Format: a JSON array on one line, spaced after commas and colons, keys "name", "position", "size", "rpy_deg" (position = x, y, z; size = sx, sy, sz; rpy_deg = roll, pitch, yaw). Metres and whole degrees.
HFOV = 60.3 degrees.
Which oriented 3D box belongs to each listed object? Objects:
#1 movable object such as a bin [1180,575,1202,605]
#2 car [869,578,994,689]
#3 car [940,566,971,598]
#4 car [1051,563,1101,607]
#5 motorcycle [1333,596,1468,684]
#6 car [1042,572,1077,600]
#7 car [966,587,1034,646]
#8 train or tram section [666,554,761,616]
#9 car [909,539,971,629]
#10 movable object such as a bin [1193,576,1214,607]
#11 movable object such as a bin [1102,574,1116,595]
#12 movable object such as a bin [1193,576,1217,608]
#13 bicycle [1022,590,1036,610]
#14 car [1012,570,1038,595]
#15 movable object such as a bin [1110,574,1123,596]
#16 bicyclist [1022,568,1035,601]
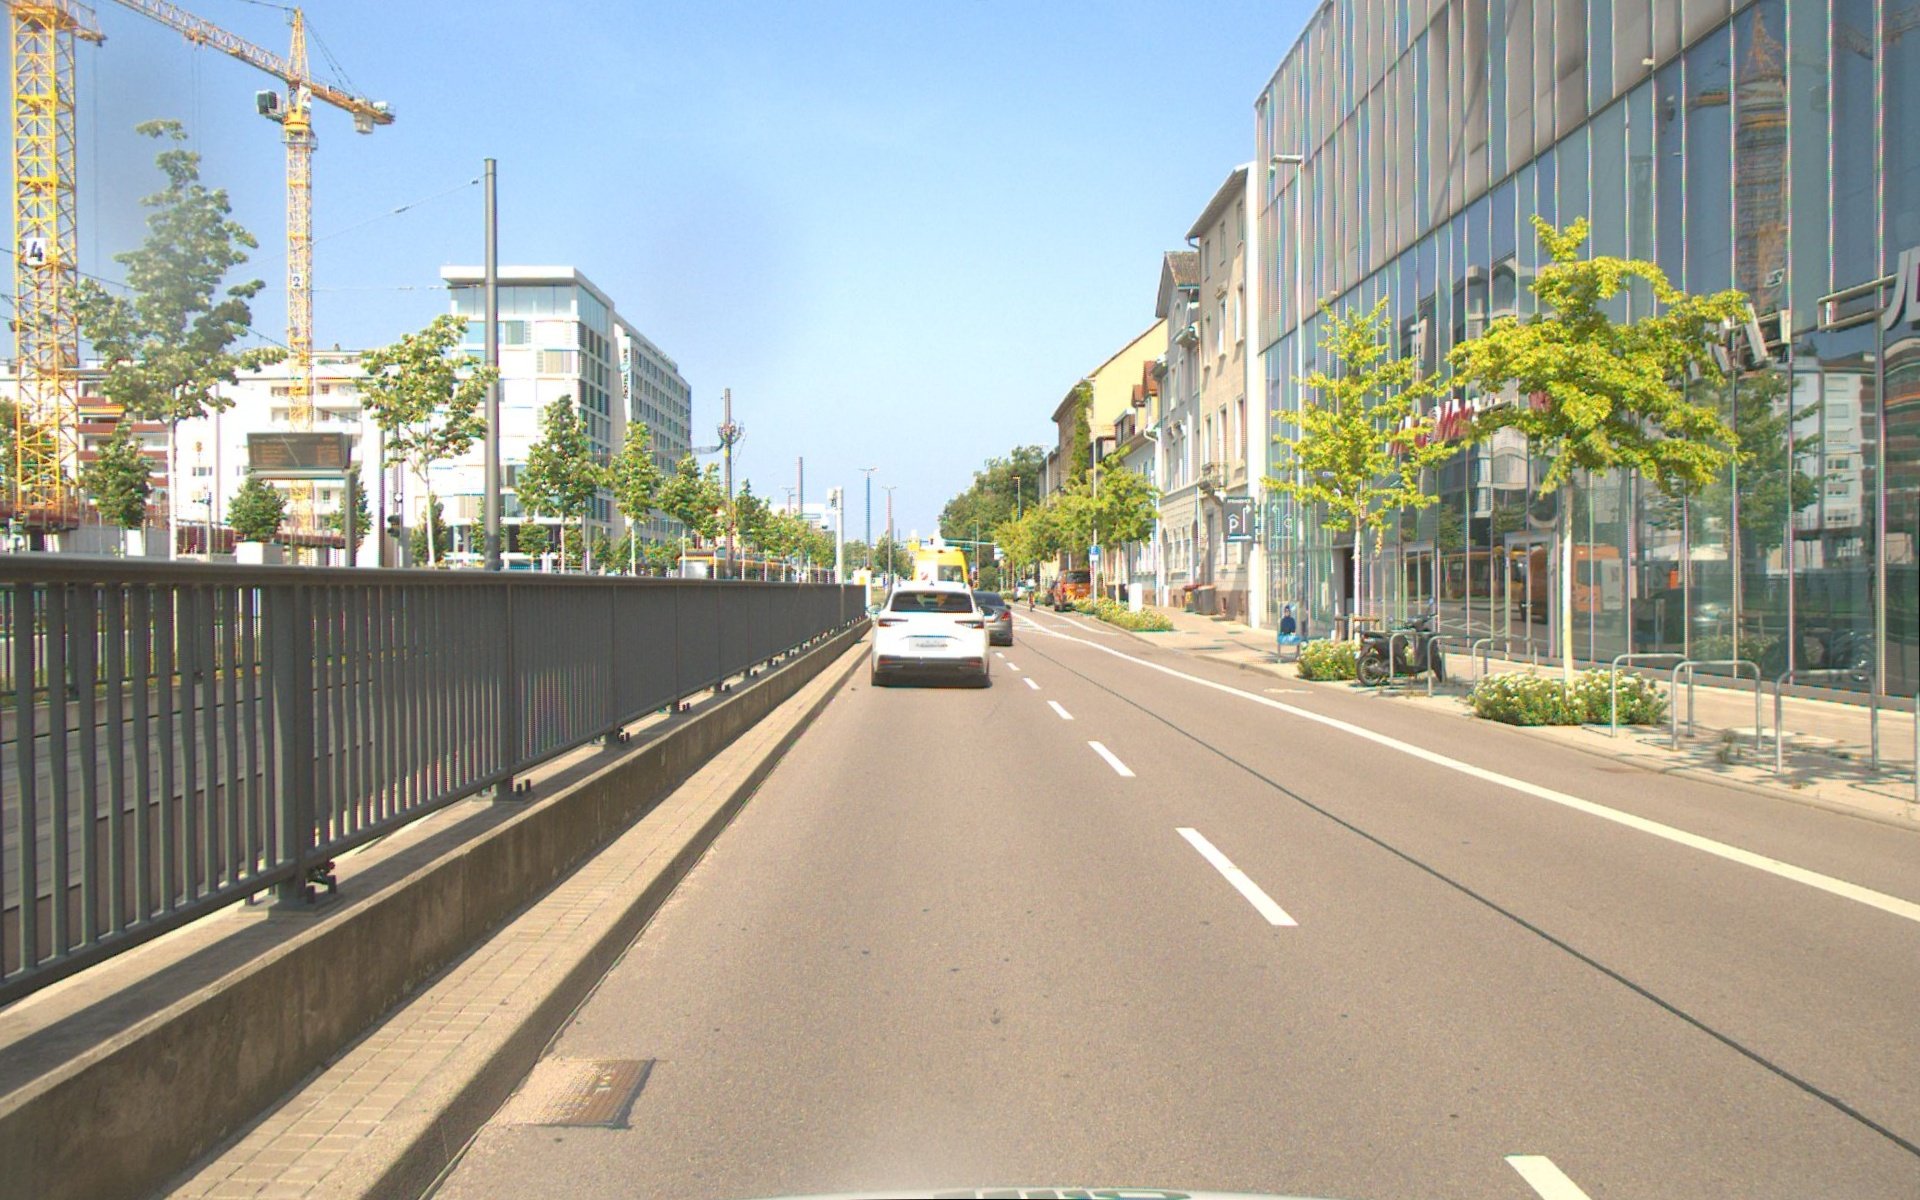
[{"name": "movable object such as a bin", "position": [9.315, -0.426, 66.738], "size": [0.666, 1.172, 0.607], "rpy_deg": [-3, 4, -45]}, {"name": "car", "position": [-0.435, 0.467, 26.297], "size": [1.832, 1.602, 4.000], "rpy_deg": [-1, 1, -1]}, {"name": "car", "position": [-0.300, -1.200, 109.127], "size": [1.953, 2.049, 3.999], "rpy_deg": [1, 0, -1]}, {"name": "car", "position": [5.644, -0.751, 81.133], "size": [2.021, 2.048, 4.588], "rpy_deg": [-1, 1, -1]}, {"name": "motorcycle", "position": [7.183, 0.638, 27.008], "size": [1.934, 1.373, 0.865], "rpy_deg": [-1, 0, -12]}, {"name": "car", "position": [5.643, -0.785, 94.278], "size": [1.640, 1.509, 4.311], "rpy_deg": [-2, 1, -1]}, {"name": "car", "position": [1.062, 0.416, 45.438], "size": [1.724, 1.461, 4.115], "rpy_deg": [1, 1, -1]}, {"name": "train or tram section", "position": [-16.094, -0.976, 109.795], "size": [2.845, 3.740, 18.142], "rpy_deg": [1, 1, 2]}, {"name": "car", "position": [-0.684, -0.627, 56.553], "size": [1.979, 2.844, 5.401], "rpy_deg": [-1, 3, -1]}, {"name": "movable object such as a bin", "position": [9.462, -0.340, 64.290], "size": [0.690, 1.172, 0.671], "rpy_deg": [0, 3, -2]}, {"name": "movable object such as a bin", "position": [8.724, -0.917, 96.966], "size": [0.725, 1.221, 0.773], "rpy_deg": [0, 1, -2]}, {"name": "movable object such as a bin", "position": [9.379, -0.300, 63.318], "size": [0.765, 1.192, 0.808], "rpy_deg": [0, 3, -2]}, {"name": "bicycle", "position": [3.381, -0.025, 81.171], "size": [0.642, 0.955, 1.517], "rpy_deg": [0, 1, 1]}, {"name": "car", "position": [4.888, -1.326, 124.761], "size": [1.776, 1.844, 3.835], "rpy_deg": [0, 1, -1]}, {"name": "movable object such as a bin", "position": [8.870, -0.851, 93.938], "size": [0.665, 1.221, 0.781], "rpy_deg": [0, 1, -2]}, {"name": "bicyclist", "position": [3.374, -0.762, 81.095], "size": [0.626, 1.604, 0.771], "rpy_deg": [0, 1, 1]}]
